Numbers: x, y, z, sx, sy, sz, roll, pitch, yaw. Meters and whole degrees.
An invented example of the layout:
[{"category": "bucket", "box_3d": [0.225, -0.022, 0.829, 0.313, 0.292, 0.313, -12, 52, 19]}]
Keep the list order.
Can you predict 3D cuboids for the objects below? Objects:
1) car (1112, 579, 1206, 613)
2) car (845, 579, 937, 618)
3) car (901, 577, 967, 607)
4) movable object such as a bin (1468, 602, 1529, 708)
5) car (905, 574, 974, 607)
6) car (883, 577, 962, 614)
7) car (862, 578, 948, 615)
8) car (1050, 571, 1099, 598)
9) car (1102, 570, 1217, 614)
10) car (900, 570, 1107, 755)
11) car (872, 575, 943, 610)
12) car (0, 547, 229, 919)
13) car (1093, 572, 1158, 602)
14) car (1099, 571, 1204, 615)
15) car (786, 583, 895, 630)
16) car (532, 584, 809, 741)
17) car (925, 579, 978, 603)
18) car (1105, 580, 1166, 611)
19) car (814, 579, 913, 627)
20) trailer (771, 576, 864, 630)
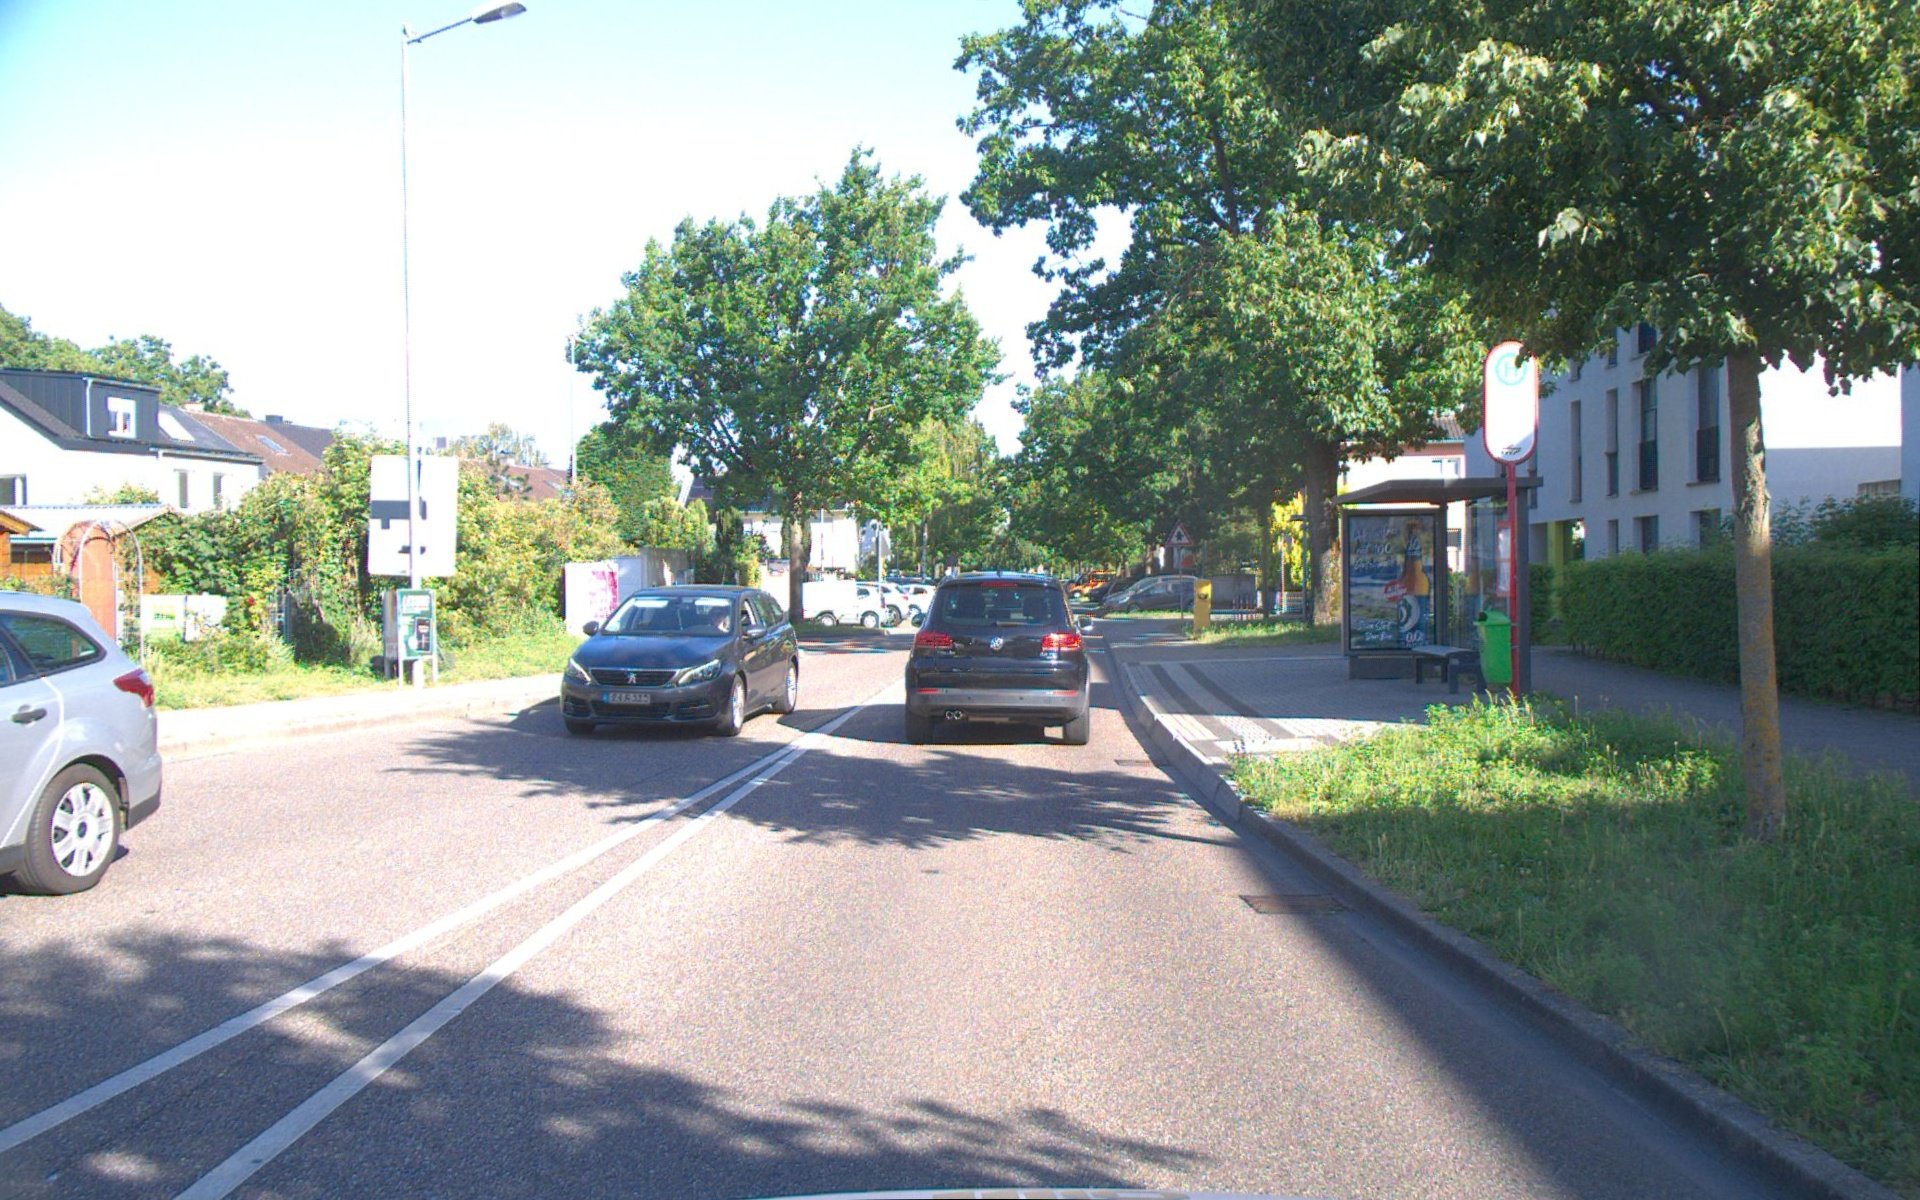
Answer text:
[{"category": "car", "box_3d": [8.591, -0.188, 71.580, 3.903, 1.392, 1.847, -1, 0, 3]}, {"category": "car", "box_3d": [-3.074, -0.078, 74.195, 3.903, 1.699, 2.001, -1, 0, 4]}, {"category": "car", "box_3d": [-1.576, -0.507, 101.359, 3.904, 1.750, 1.821, -1, -1, 2]}, {"category": "movable object such as a bin", "box_3d": [5.399, 0.543, 16.604, 0.361, 1.034, 0.599, -1, 1, -6]}, {"category": "car", "box_3d": [-1.300, -0.601, 103.821, 4.301, 1.973, 1.578, -1, -1, -1]}, {"category": "car", "box_3d": [-1.886, -0.245, 84.249, 3.906, 1.762, 2.000, -1, 0, -1]}, {"category": "car", "box_3d": [-2.631, -0.180, 79.521, 3.903, 1.668, 2.001, -1, 1, 4]}, {"category": "car", "box_3d": [9.245, -1.273, 134.088, 3.903, 2.049, 2.001, -1, -2, 4]}, {"category": "car", "box_3d": [9.259, -0.378, 77.090, 5.149, 1.979, 2.001, -1, 0, 3]}, {"category": "car", "box_3d": [0.375, 0.532, 17.514, 1.890, 1.683, 4.514, 1, 1, -1]}, {"category": "car", "box_3d": [-2.893, -0.427, 91.776, 3.906, 1.868, 1.637, -1, 0, -1]}, {"category": "car", "box_3d": [-5.350, 0.587, 6.791, 2.162, 1.618, 4.538, 0, 0, 9]}, {"category": "car", "box_3d": [10.195, -0.794, 102.184, 3.903, 1.806, 1.790, -1, 0, 4]}, {"category": "car", "box_3d": [8.562, -0.320, 74.083, 4.536, 1.841, 1.824, -1, 0, 3]}, {"category": "car", "box_3d": [-4.069, 0.220, 56.734, 3.475, 1.503, 1.809, -1, 0, 3]}, {"category": "car", "box_3d": [-2.961, 0.569, 17.932, 1.952, 1.469, 4.453, 1, 1, 4]}, {"category": "car", "box_3d": [-0.632, -0.684, 126.815, 3.909, 1.713, 1.921, -1, 0, -5]}, {"category": "car", "box_3d": [9.108, -0.241, 85.930, 2.983, 1.534, 1.246, -1, 0, -3]}, {"category": "car", "box_3d": [-3.436, 0.099, 59.382, 3.478, 1.641, 1.852, -1, 0, -3]}, {"category": "trailer", "box_3d": [-4.680, 0.104, 54.401, 2.906, 1.685, 1.396, -1, 0, -1]}]
